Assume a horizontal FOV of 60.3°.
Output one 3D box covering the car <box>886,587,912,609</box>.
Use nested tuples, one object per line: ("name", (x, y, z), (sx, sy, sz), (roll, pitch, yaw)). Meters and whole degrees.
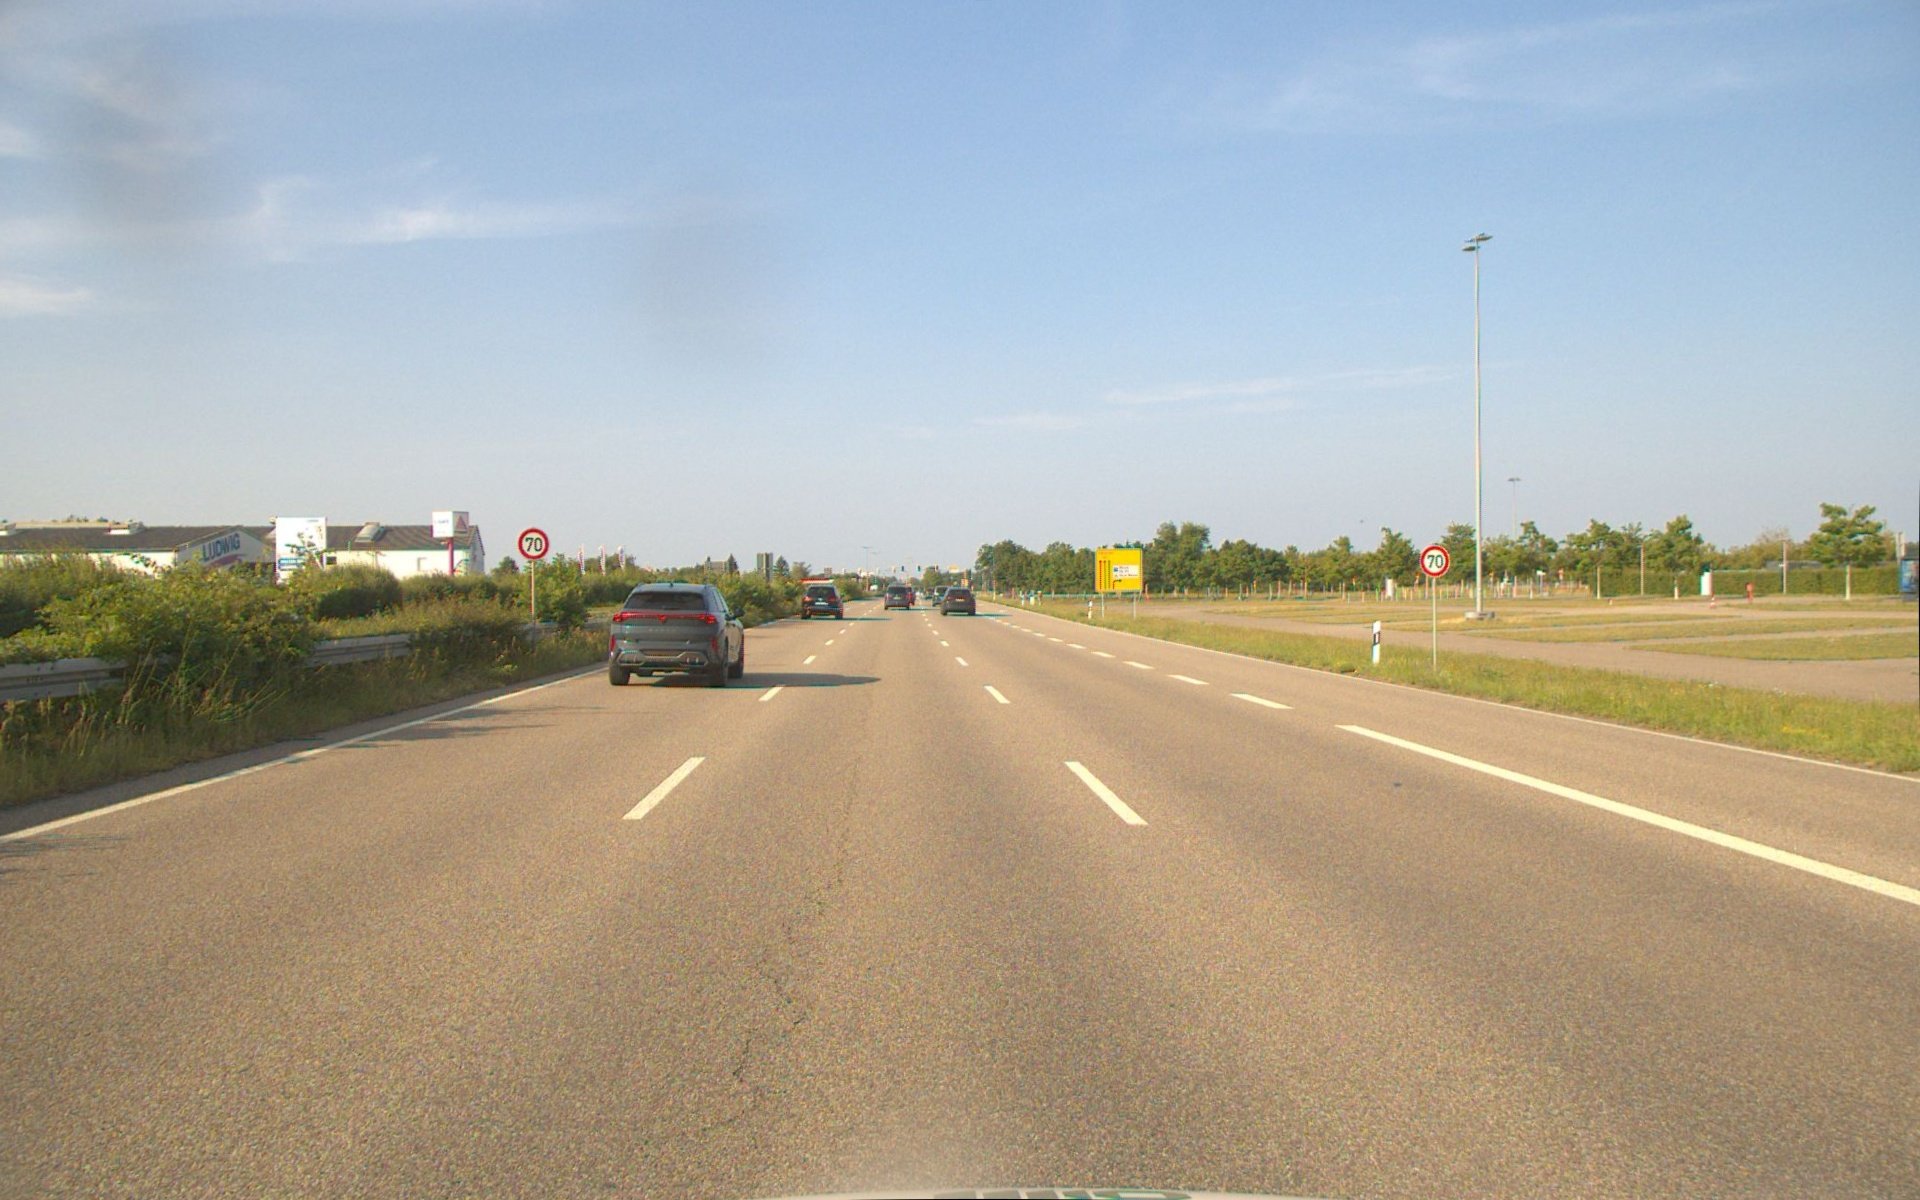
("car", (-4.227, -0.148, 115.253), (1.776, 1.488, 4.399), (2, 0, -2))

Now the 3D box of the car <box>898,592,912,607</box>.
("car", (-6.455, -0.029, 194.665), (1.612, 1.758, 3.399), (1, -1, -2))

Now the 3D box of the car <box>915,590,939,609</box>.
("car", (-2.678, -0.070, 133.575), (1.835, 1.488, 3.979), (2, 0, -2))

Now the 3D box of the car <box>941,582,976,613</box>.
("car", (-0.085, -0.168, 97.537), (1.893, 1.709, 4.399), (2, 0, -2))

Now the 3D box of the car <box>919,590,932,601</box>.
("car", (-4.197, -0.573, 202.083), (1.473, 1.336, 3.155), (2, 0, -2))

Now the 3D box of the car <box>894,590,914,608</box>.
("car", (-4.701, -0.097, 140.102), (1.614, 1.488, 3.979), (2, 0, -2))

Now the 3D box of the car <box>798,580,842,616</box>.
("car", (-6.910, -0.108, 81.992), (1.893, 1.709, 4.399), (2, 0, -2))

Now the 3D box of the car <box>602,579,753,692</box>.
("car", (-4.532, 0.522, 27.148), (1.808, 1.640, 4.399), (2, 0, -2))
